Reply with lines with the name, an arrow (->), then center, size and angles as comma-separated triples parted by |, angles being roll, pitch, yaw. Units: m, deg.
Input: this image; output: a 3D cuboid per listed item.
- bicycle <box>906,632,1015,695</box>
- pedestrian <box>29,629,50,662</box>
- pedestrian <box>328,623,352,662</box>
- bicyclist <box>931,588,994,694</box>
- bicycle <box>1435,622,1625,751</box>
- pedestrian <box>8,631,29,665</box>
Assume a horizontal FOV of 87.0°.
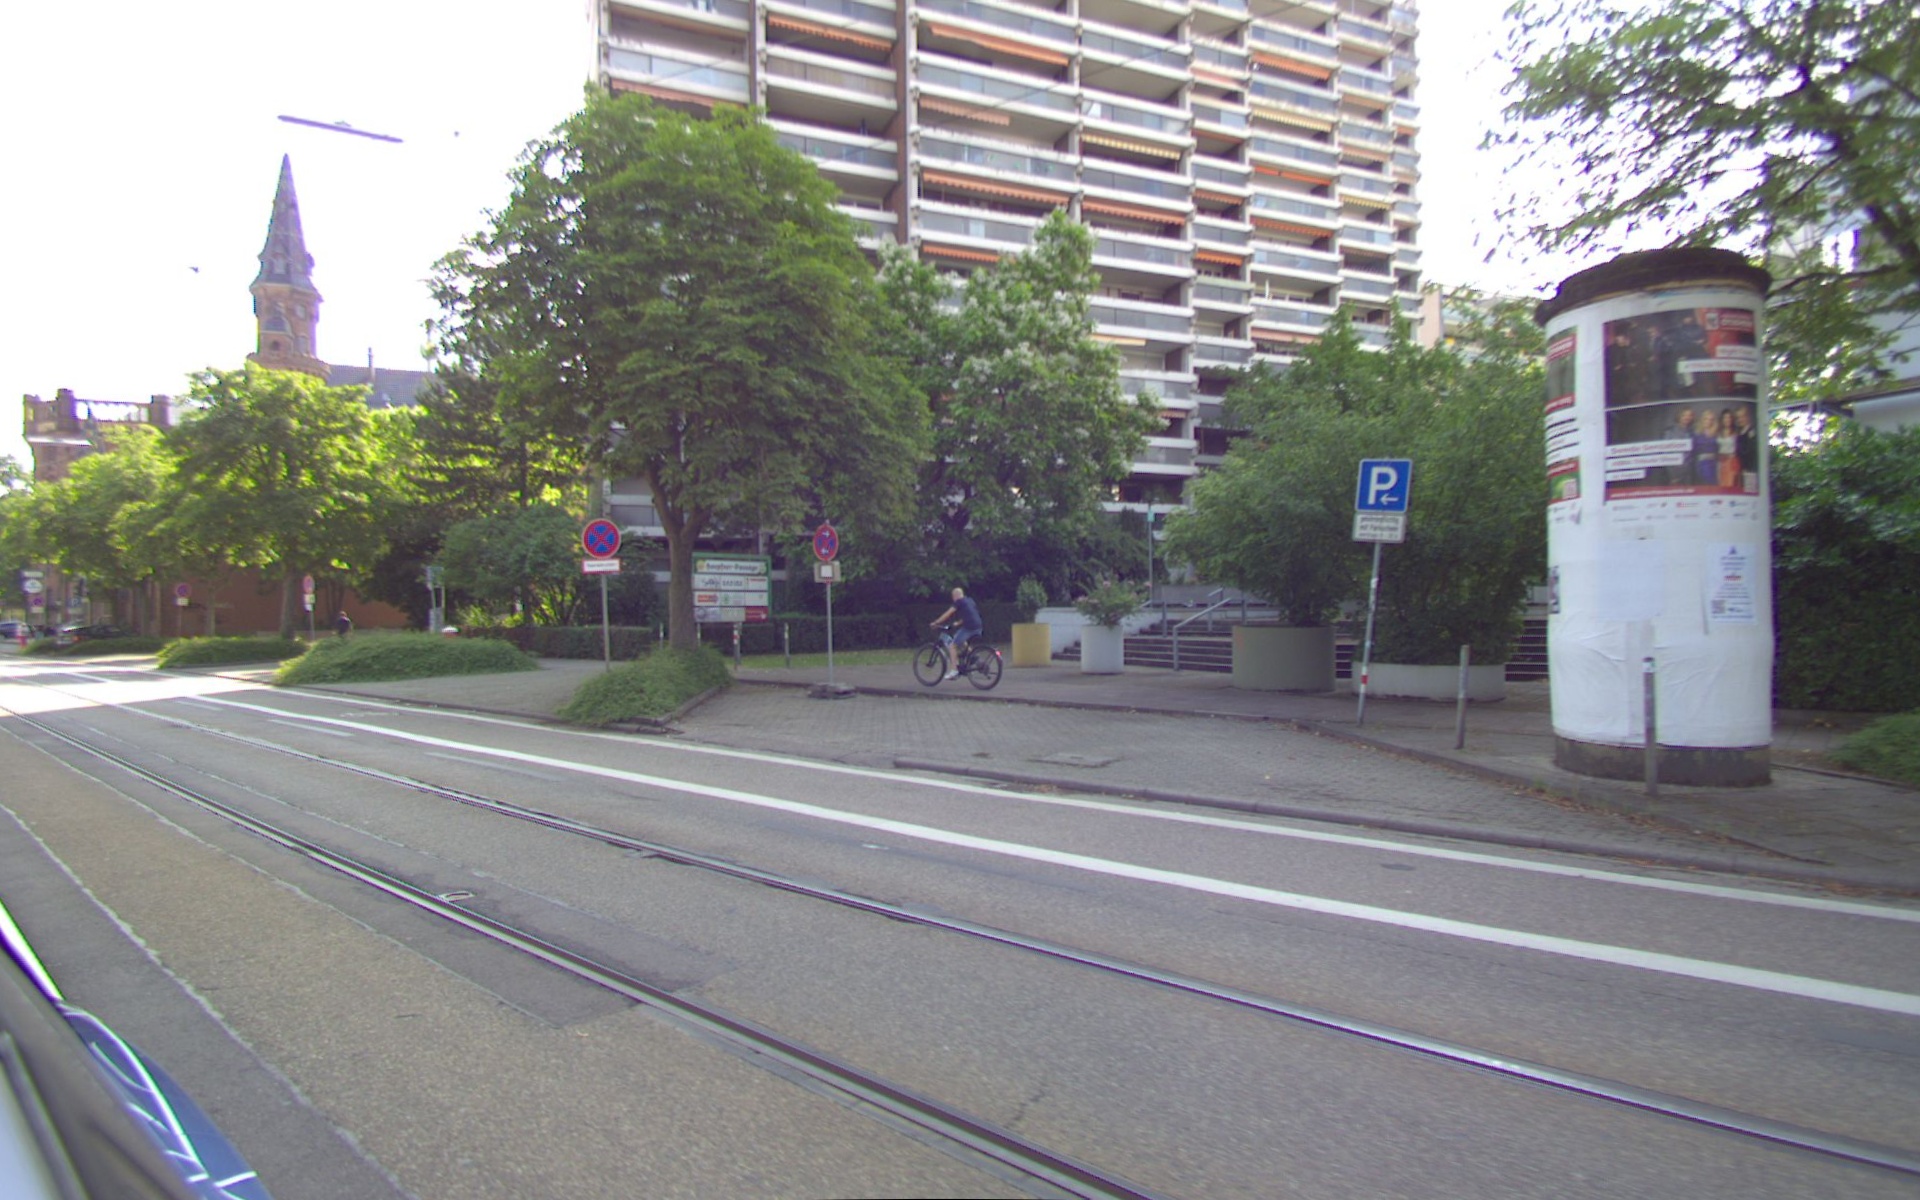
bicycle -> -0.018, 1.068, 17.359 | 1.982, 0.988, 0.561 | -1, 0, 41
pedestrian -> -57.262, 2.830, 62.955 | 1.057, 2.029, 0.893 | -1, 0, 42
pedestrian -> -26.992, 1.833, 44.060 | 0.754, 1.642, 0.739 | -1, 0, -40
bicyclist -> 0.048, 0.680, 17.291 | 0.781, 1.753, 0.716 | -1, 0, 41
bicycle -> 5.501, 0.816, 9.810 | 1.485, 1.163, 0.634 | -1, 0, -6
pedestrian -> -57.896, 2.924, 62.229 | 1.057, 2.029, 0.892 | -1, 0, 44
